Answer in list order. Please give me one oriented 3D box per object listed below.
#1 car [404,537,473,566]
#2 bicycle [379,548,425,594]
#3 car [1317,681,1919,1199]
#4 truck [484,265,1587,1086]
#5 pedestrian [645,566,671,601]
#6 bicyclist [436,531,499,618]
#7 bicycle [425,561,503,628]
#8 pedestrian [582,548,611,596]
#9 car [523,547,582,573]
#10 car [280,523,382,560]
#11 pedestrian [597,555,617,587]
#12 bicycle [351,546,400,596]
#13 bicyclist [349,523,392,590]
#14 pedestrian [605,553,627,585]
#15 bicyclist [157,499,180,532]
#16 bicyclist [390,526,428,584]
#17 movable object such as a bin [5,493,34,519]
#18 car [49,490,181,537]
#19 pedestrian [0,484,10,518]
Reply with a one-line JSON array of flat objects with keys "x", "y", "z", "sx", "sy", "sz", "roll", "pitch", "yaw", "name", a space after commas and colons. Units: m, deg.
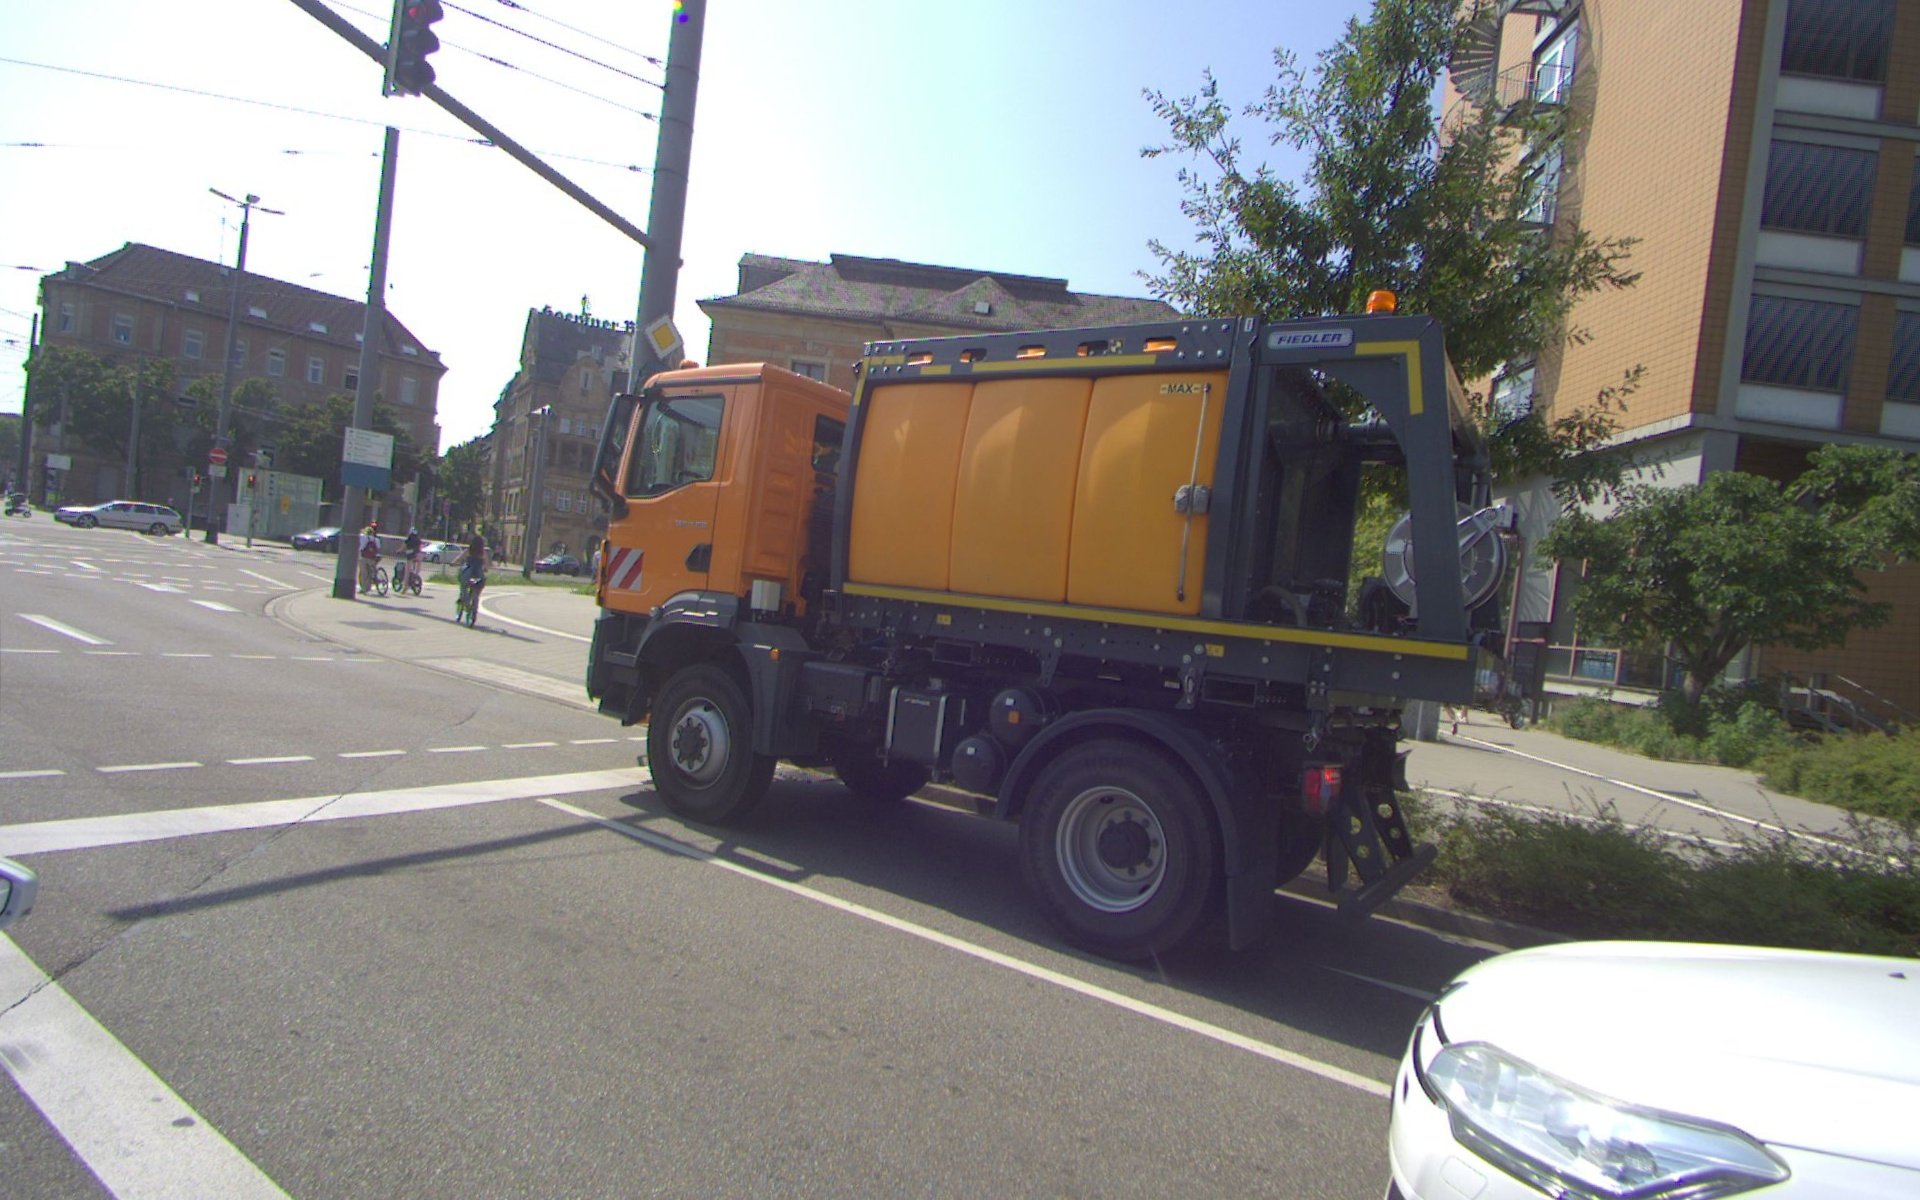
[{"x": -33.573, "y": -3.090, "z": 64.920, "sx": 1.742, "sy": 1.433, "sz": 4.203, "roll": 7, "pitch": 0, "yaw": 7, "name": "car"}, {"x": -14.765, "y": -0.779, "z": 26.617, "sx": 1.632, "sy": 1.068, "sz": 0.535, "roll": 7, "pitch": 1, "yaw": 45, "name": "bicycle"}, {"x": 2.993, "y": 1.139, "z": 1.241, "sx": 4.535, "sy": 1.446, "sz": 1.770, "roll": 7, "pitch": 0, "yaw": 33, "name": "car"}, {"x": 0.055, "y": 0.093, "z": 6.785, "sx": 6.751, "sy": 3.171, "sz": 2.496, "roll": 7, "pitch": -2, "yaw": 34, "name": "truck"}, {"x": -13.082, "y": -0.702, "z": 43.576, "sx": 0.679, "sy": 1.417, "sz": 0.767, "roll": 7, "pitch": 1, "yaw": 7, "name": "pedestrian"}, {"x": -9.355, "y": -0.478, "z": 19.108, "sx": 0.653, "sy": 1.537, "sz": 0.734, "roll": 7, "pitch": 1, "yaw": 36, "name": "bicyclist"}, {"x": -9.469, "y": -0.115, "z": 19.168, "sx": 1.794, "sy": 1.068, "sz": 0.492, "roll": 7, "pitch": 1, "yaw": 37, "name": "bicycle"}, {"x": -14.164, "y": -1.085, "z": 39.178, "sx": 0.808, "sy": 1.746, "sz": 0.546, "roll": 6, "pitch": 1, "yaw": -9, "name": "pedestrian"}, {"x": -31.997, "y": -3.091, "z": 79.221, "sx": 1.962, "sy": 1.523, "sz": 4.628, "roll": 7, "pitch": 0, "yaw": 11, "name": "car"}, {"x": -34.262, "y": -3.179, "z": 54.974, "sx": 1.742, "sy": 1.433, "sz": 4.771, "roll": 7, "pitch": 0, "yaw": 13, "name": "car"}, {"x": -18.257, "y": -1.490, "z": 51.992, "sx": 0.727, "sy": 1.595, "sz": 0.787, "roll": 6, "pitch": 1, "yaw": -14, "name": "pedestrian"}, {"x": -14.238, "y": -0.712, "z": 24.485, "sx": 1.632, "sy": 1.068, "sz": 0.535, "roll": 7, "pitch": 1, "yaw": 45, "name": "bicycle"}, {"x": -14.406, "y": -1.064, "z": 24.596, "sx": 0.702, "sy": 1.537, "sz": 0.626, "roll": 7, "pitch": 1, "yaw": 44, "name": "bicyclist"}, {"x": -14.081, "y": -1.272, "z": 41.179, "sx": 0.660, "sy": 1.229, "sz": 0.523, "roll": 6, "pitch": 1, "yaw": -30, "name": "pedestrian"}, {"x": -39.926, "y": -4.239, "z": 50.768, "sx": 0.511, "sy": 1.548, "sz": 0.613, "roll": 7, "pitch": 1, "yaw": 8, "name": "bicyclist"}, {"x": -14.434, "y": -1.177, "z": 26.352, "sx": 0.882, "sy": 1.410, "sz": 0.529, "roll": 7, "pitch": 1, "yaw": 44, "name": "bicyclist"}, {"x": -45.133, "y": -4.506, "z": 48.294, "sx": 0.502, "sy": 1.091, "sz": 0.815, "roll": 7, "pitch": 1, "yaw": 21, "name": "movable object such as a bin"}, {"x": -38.134, "y": -3.881, "z": 45.503, "sx": 1.746, "sy": 1.433, "sz": 4.180, "roll": 7, "pitch": 0, "yaw": 31, "name": "car"}, {"x": -45.786, "y": -4.756, "z": 47.680, "sx": 0.519, "sy": 1.564, "sz": 0.852, "roll": 7, "pitch": 1, "yaw": 24, "name": "pedestrian"}]
